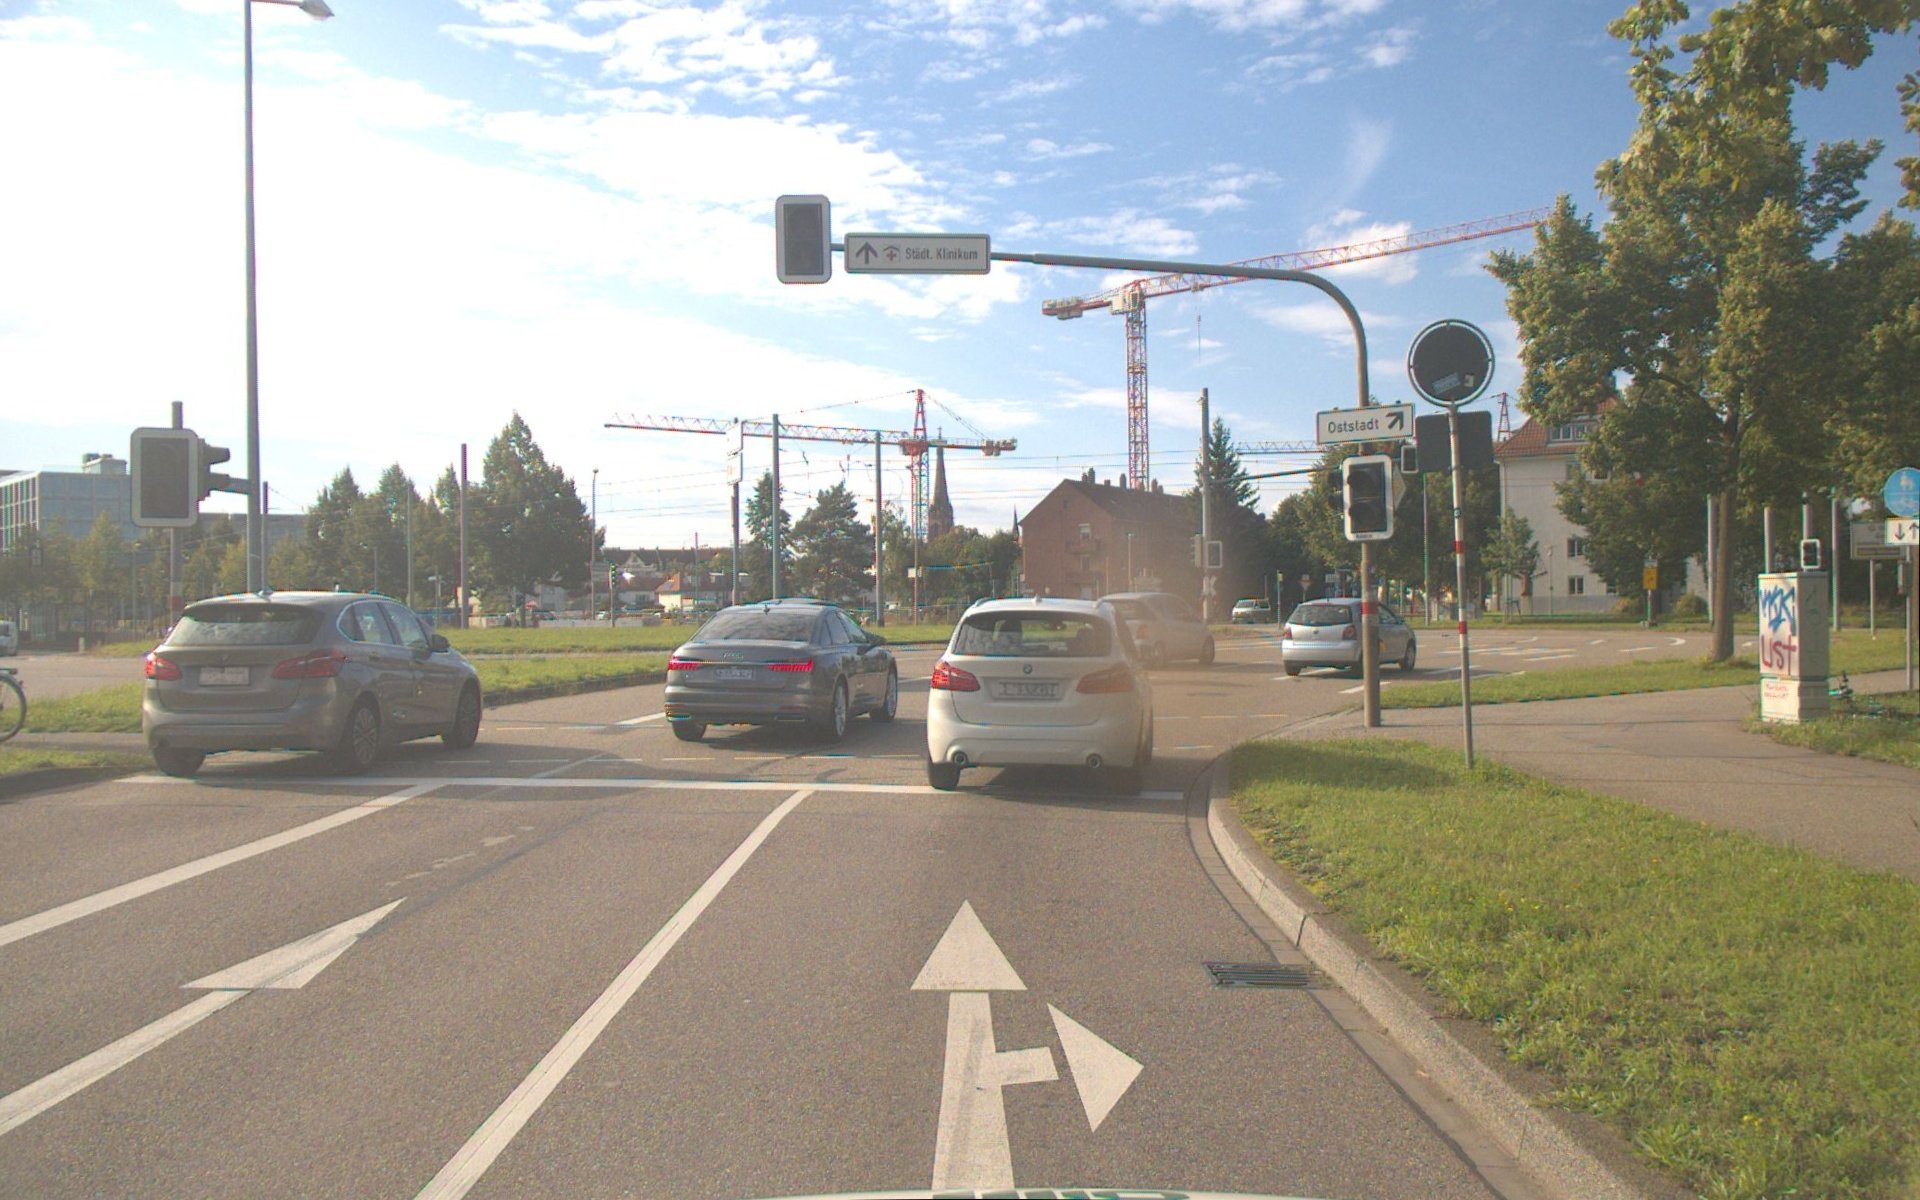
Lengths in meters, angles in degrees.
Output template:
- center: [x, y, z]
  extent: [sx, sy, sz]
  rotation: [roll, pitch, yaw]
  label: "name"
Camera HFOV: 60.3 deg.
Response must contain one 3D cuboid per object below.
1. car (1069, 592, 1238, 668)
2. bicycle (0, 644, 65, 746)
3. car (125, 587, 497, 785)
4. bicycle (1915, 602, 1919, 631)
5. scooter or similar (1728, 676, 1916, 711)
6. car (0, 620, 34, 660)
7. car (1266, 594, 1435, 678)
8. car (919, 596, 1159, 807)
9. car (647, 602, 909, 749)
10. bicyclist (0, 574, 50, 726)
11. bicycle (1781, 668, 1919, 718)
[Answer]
- center: [4.222, 0.591, 35.549]
  extent: [1.818, 1.504, 4.441]
  rotation: [0, 0, 34]
  label: "car"
- center: [-10.787, 1.015, 17.660]
  extent: [1.914, 1.025, 1.002]
  rotation: [-1, 0, 4]
  label: "bicycle"
- center: [-5.840, 0.709, 15.458]
  extent: [1.731, 1.600, 4.068]
  rotation: [0, 0, 2]
  label: "car"
- center: [43.216, 0.702, 72.318]
  extent: [2.469, 1.244, 0.714]
  rotation: [-1, -1, -2]
  label: "bicycle"
- center: [9.936, 1.072, 19.090]
  extent: [1.529, 0.286, 1.283]
  rotation: [-1, 0, -25]
  label: "scooter or similar"
- center: [-45.603, 1.920, 78.585]
  extent: [1.653, 1.856, 4.542]
  rotation: [-3, 0, -16]
  label: "car"
- center: [7.766, 0.646, 32.607]
  extent: [1.818, 1.451, 4.441]
  rotation: [0, 1, 34]
  label: "car"
- center: [0.865, 0.785, 14.898]
  extent: [1.811, 1.600, 4.458]
  rotation: [0, 0, 7]
  label: "car"
- center: [-1.919, 0.778, 19.056]
  extent: [1.811, 1.470, 4.719]
  rotation: [0, 0, 9]
  label: "car"
- center: [-10.425, 0.531, 17.637]
  extent: [0.845, 1.583, 0.998]
  rotation: [-1, -1, 4]
  label: "bicyclist"
- center: [9.401, 0.932, 16.176]
  extent: [1.077, 0.352, 2.224]
  rotation: [0, 2, -34]
  label: "bicycle"
